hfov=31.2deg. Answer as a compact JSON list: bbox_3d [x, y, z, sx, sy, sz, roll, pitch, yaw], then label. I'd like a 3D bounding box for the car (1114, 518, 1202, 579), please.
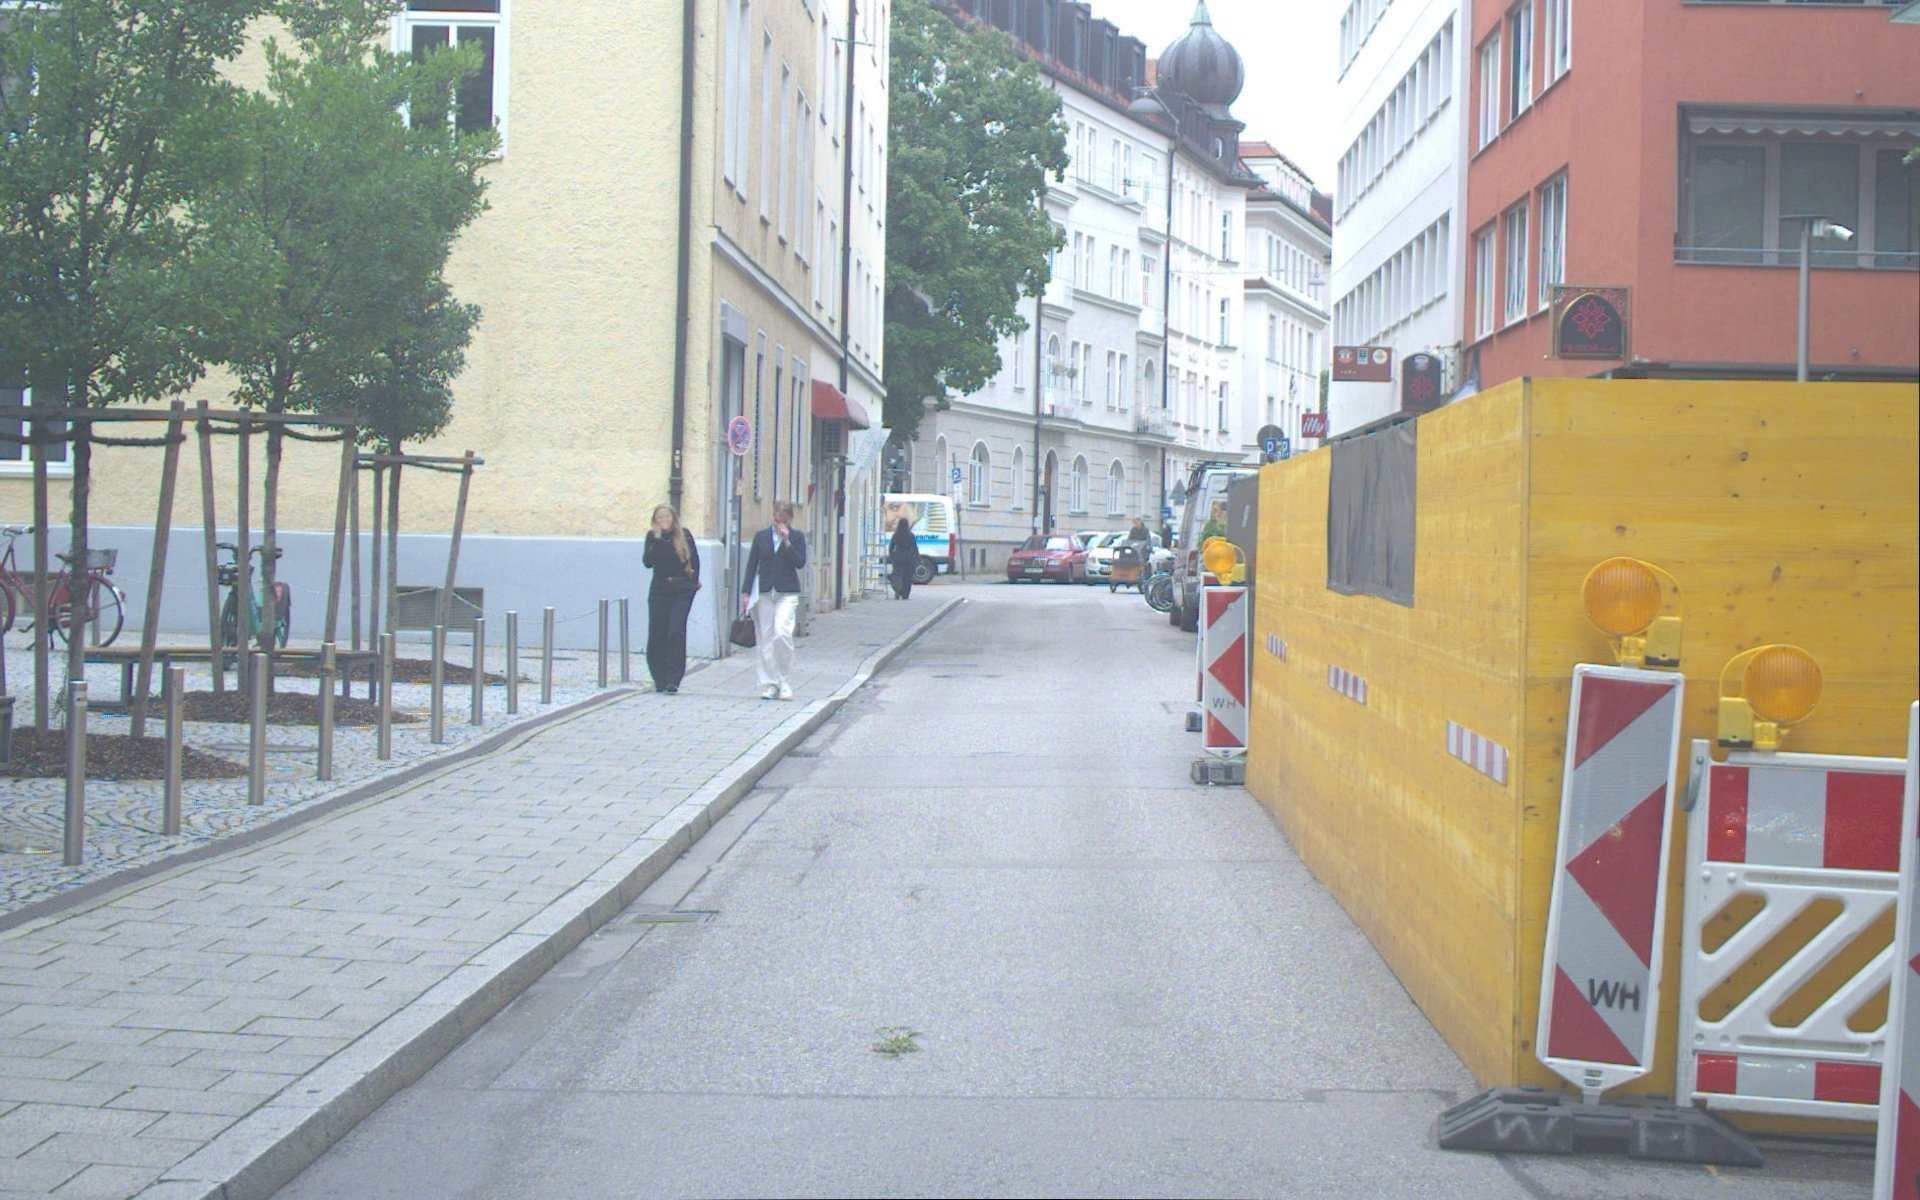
[{"bbox_3d":[6.340,-1.638,109.697,2.022,1.897,4.287,1,1,14],"label":"car"}]

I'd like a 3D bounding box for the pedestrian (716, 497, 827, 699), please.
[{"bbox_3d":[-1.631,-0.025,29.880,0.839,1.694,0.803,2,1,1],"label":"pedestrian"}]

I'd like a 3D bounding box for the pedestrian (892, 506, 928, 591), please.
[{"bbox_3d":[-1.007,-1.030,68.772,0.634,1.669,0.517,2,1,1],"label":"pedestrian"}]

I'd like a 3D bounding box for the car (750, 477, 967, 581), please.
[{"bbox_3d":[-2.533,-1.785,86.260,4.976,2.390,2.001,2,1,-27],"label":"car"}]

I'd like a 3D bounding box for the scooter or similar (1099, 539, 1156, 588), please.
[{"bbox_3d":[4.028,-0.877,82.596,1.068,1.123,1.159,3,1,18],"label":"scooter or similar"}]

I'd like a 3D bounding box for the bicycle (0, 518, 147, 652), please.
[{"bbox_3d":[-8.769,-0.163,32.401,2.044,1.193,0.570,2,1,9],"label":"bicycle"}]

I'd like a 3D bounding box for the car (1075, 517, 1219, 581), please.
[{"bbox_3d":[5.052,-1.357,92.462,1.695,1.568,3.990,3,2,42],"label":"car"}]

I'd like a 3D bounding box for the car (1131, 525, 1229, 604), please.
[{"bbox_3d":[4.671,-0.779,73.498,1.811,1.557,4.275,3,1,1],"label":"car"}]

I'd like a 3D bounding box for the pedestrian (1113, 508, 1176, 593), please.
[{"bbox_3d":[4.507,-1.213,83.927,1.134,2.007,1.408,3,1,18],"label":"pedestrian"}]

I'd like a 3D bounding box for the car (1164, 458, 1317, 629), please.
[{"bbox_3d":[4.449,-0.921,55.121,1.993,2.528,4.975,2,1,1],"label":"car"}]

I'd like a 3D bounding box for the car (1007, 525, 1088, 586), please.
[{"bbox_3d":[2.449,-1.244,95.285,1.692,1.568,3.999,2,1,8],"label":"car"}]

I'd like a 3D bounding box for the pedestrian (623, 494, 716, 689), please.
[{"bbox_3d":[-2.520,-0.079,29.838,0.670,1.642,0.761,2,1,1],"label":"pedestrian"}]

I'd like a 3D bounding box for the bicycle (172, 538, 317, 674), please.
[{"bbox_3d":[-6.314,0.042,30.441,0.510,1.140,2.051,3,1,9],"label":"bicycle"}]

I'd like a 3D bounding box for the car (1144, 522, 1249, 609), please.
[{"bbox_3d":[4.703,-0.709,68.837,1.788,1.620,4.273,2,1,1],"label":"car"}]
